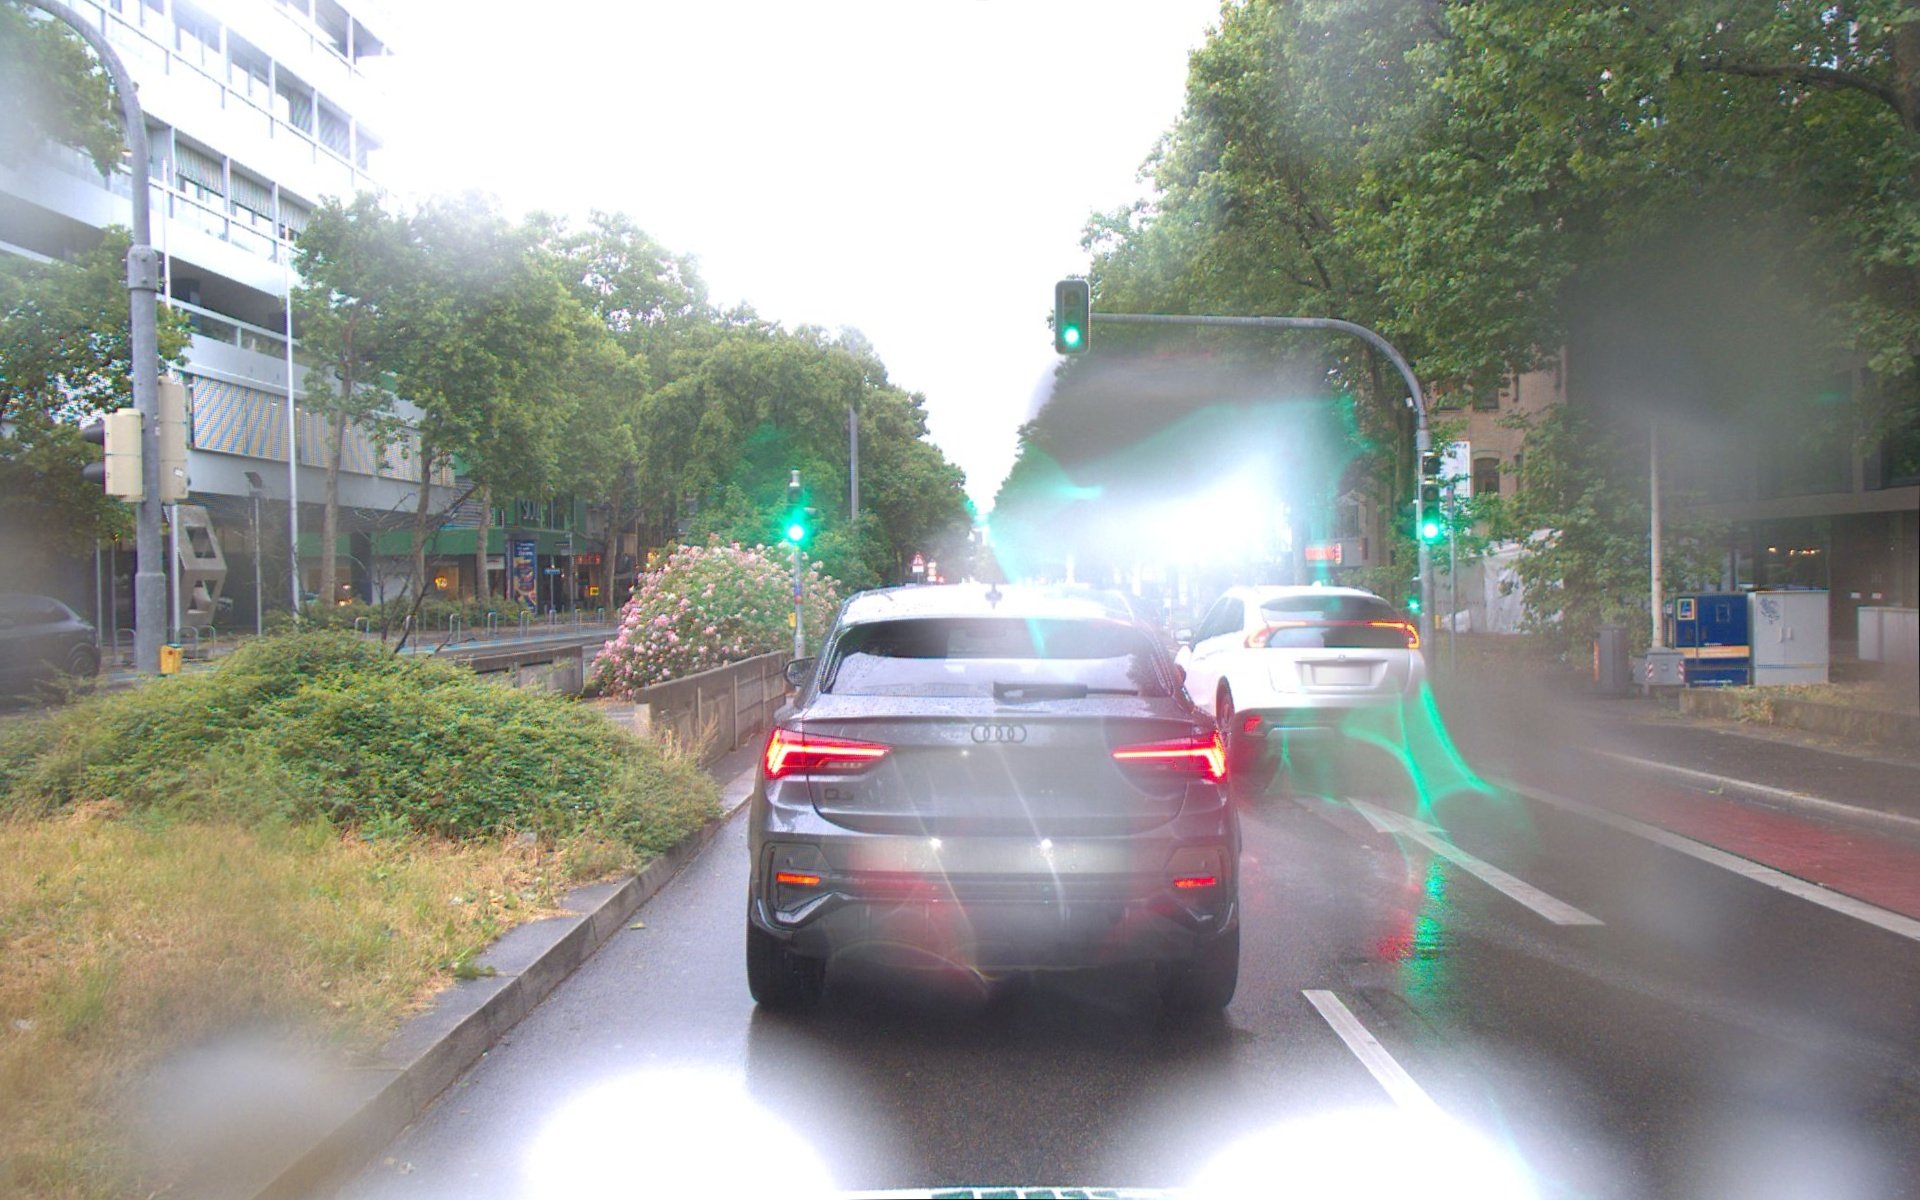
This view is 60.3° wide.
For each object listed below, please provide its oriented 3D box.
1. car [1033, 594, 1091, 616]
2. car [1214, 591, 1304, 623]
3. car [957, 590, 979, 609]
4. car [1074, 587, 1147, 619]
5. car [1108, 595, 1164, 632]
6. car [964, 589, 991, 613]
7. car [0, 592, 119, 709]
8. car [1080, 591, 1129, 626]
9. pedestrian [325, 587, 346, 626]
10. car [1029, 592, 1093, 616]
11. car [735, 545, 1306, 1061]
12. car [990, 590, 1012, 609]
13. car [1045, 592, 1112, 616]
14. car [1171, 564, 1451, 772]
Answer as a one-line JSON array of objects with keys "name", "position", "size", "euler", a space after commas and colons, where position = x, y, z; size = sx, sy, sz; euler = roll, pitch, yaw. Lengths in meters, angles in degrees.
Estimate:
[{"name": "car", "position": [8.691, 0.408, 140.725], "size": [4.549, 1.736, 1.997], "euler": [1, -1, 28]}, {"name": "car", "position": [10.647, 0.254, 58.981], "size": [2.831, 1.093, 1.452], "euler": [1, -1, 31]}, {"name": "car", "position": [0.728, -0.026, 149.025], "size": [1.857, 1.627, 3.938], "euler": [1, 0, -1]}, {"name": "car", "position": [9.914, 0.191, 109.121], "size": [4.519, 2.049, 1.959], "euler": [1, -1, 39]}, {"name": "car", "position": [7.237, 0.553, 68.404], "size": [1.835, 1.446, 4.611], "euler": [1, 0, 0]}, {"name": "car", "position": [1.297, 0.072, 123.767], "size": [1.953, 1.757, 3.999], "euler": [1, 0, -1]}, {"name": "car", "position": [-14.068, 0.678, 23.164], "size": [1.869, 1.612, 4.748], "euler": [1, 0, 4]}, {"name": "car", "position": [6.913, 0.400, 79.457], "size": [1.693, 1.599, 4.070], "euler": [1, 0, -4]}, {"name": "pedestrian", "position": [-24.432, 0.264, 64.708], "size": [0.597, 1.508, 0.574], "euler": [1, -1, -3]}, {"name": "car", "position": [7.794, 0.315, 127.619], "size": [4.549, 1.736, 1.997], "euler": [1, -1, 28]}, {"name": "car", "position": [0.164, 0.642, 7.251], "size": [1.812, 1.630, 3.999], "euler": [0, 0, -1]}, {"name": "car", "position": [3.717, -0.026, 151.114], "size": [1.952, 1.680, 4.000], "euler": [1, 0, 0]}, {"name": "car", "position": [8.884, 0.276, 123.833], "size": [4.549, 1.736, 1.997], "euler": [1, -1, 28]}, {"name": "car", "position": [3.220, 0.590, 15.950], "size": [1.839, 1.727, 4.000], "euler": [1, 0, 0]}]
